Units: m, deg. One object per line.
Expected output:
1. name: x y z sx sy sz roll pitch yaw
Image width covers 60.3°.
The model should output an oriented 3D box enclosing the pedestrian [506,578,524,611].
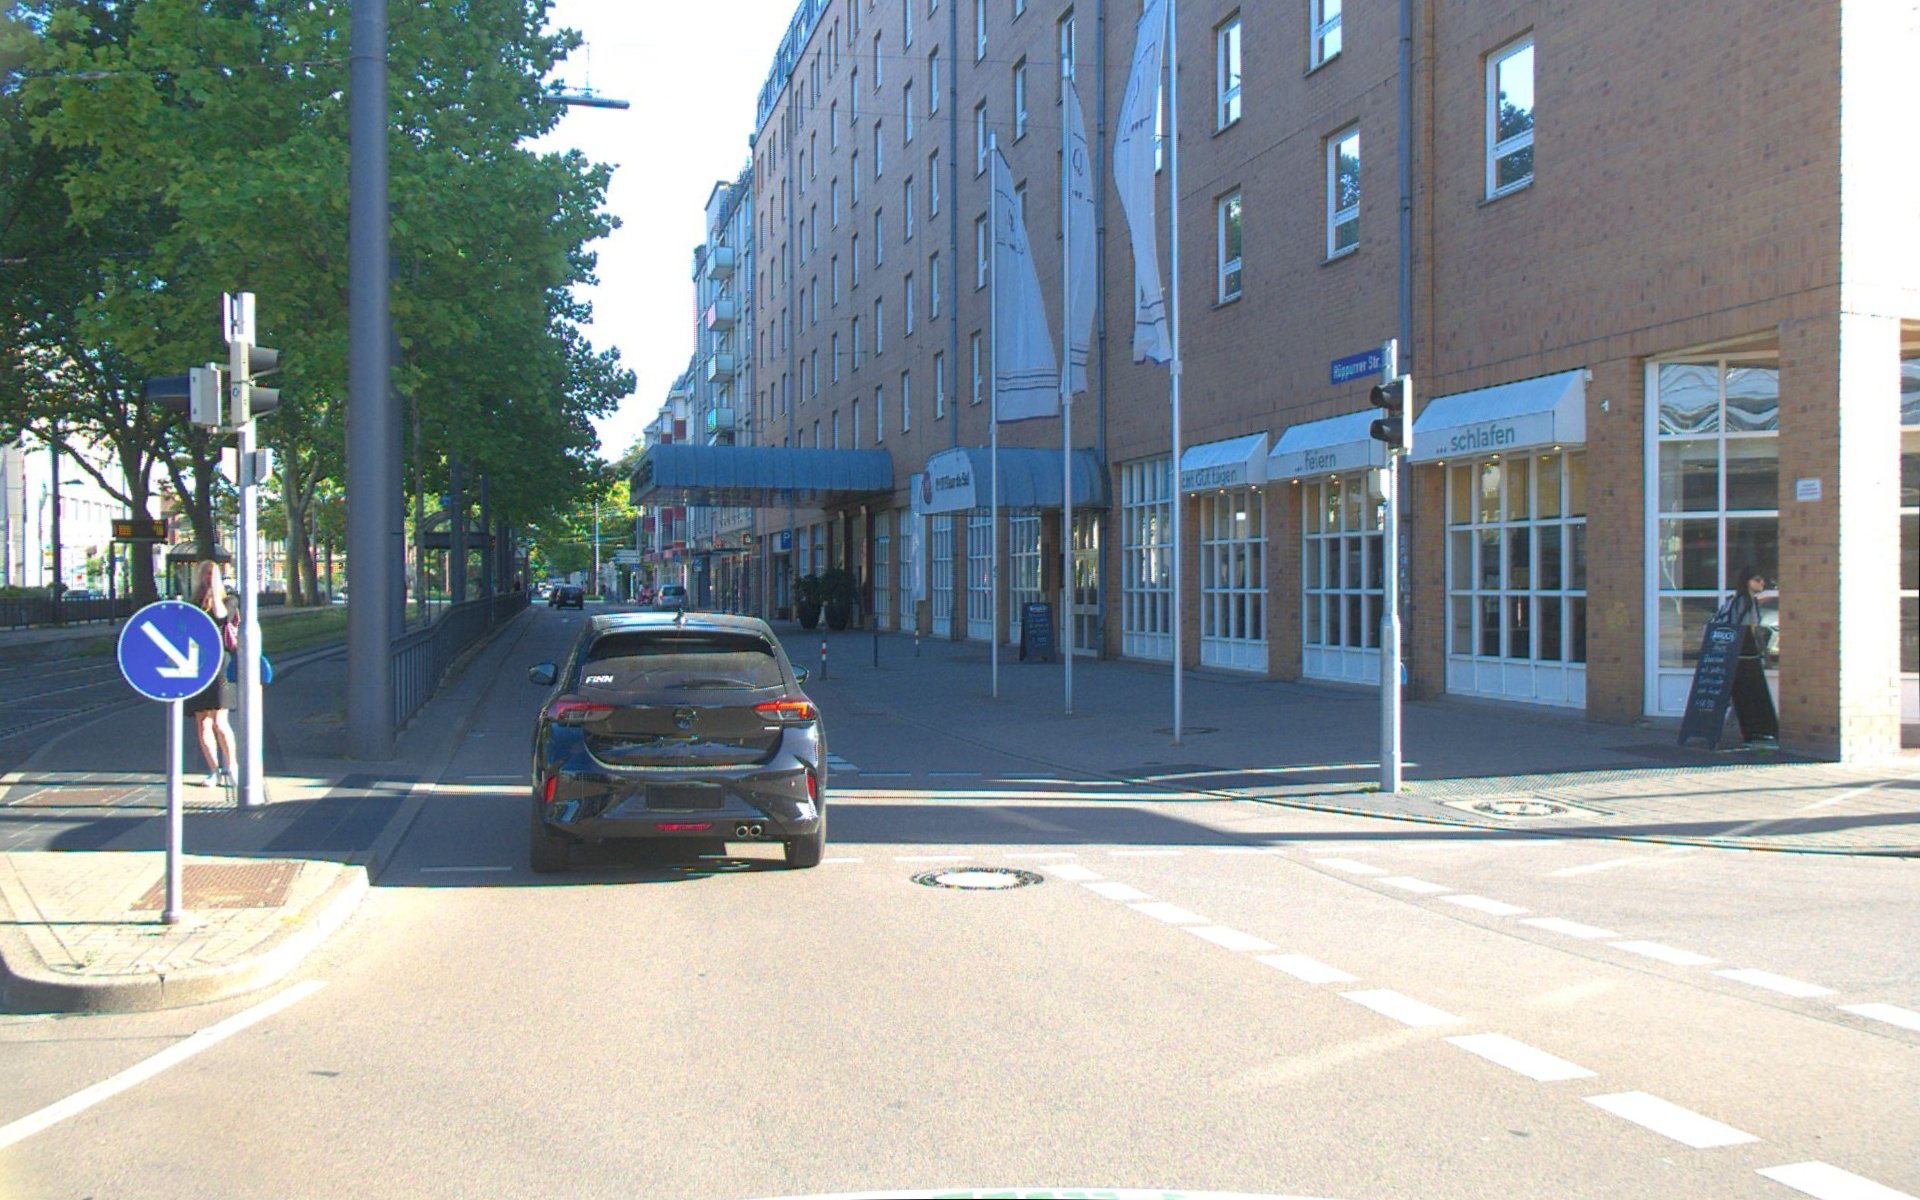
1. pedestrian: -20.088 -0.269 74.669 0.711 1.470 0.624 1 0 -18

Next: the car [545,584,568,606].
1. car: -29.594 -0.394 121.300 1.586 1.528 3.676 1 0 -15

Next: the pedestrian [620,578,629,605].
1. pedestrian: -35.938 -0.897 177.028 0.902 2.922 1.146 0 0 -15

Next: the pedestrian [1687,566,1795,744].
1. pedestrian: 7.701 0.520 16.311 0.734 1.695 0.742 0 0 -41

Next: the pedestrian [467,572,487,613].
1. pedestrian: -16.441 -0.251 56.276 0.594 1.389 0.484 -1 0 -14

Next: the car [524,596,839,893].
1. car: -1.786 0.747 10.593 1.641 1.528 3.681 0 0 -10

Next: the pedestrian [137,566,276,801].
1. pedestrian: -5.686 0.606 12.519 0.700 1.709 0.830 -1 0 -6

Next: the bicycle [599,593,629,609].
1. bicycle: -27.454 0.083 131.391 2.314 1.255 0.682 1 0 -13

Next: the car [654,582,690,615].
1. car: -15.300 -0.094 87.719 1.643 1.681 3.678 1 0 -13

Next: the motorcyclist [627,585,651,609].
1. motorcyclist: -23.384 -0.238 120.491 1.299 1.727 1.217 1 0 -44

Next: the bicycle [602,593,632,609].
1. bicycle: -27.615 0.111 133.152 2.314 1.255 0.682 1 0 -13

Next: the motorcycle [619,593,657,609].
1. motorcycle: -23.490 0.086 120.606 1.299 1.077 3.048 1 1 -44

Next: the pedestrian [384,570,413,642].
1. pedestrian: -13.524 0.146 39.862 0.594 1.709 0.484 -1 0 -14

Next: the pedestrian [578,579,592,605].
1. pedestrian: -41.547 -0.859 183.187 0.904 2.922 1.143 0 0 43

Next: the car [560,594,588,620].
1. car: -23.962 0.398 102.625 1.586 1.528 3.676 1 0 -15

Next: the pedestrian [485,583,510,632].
1. pedestrian: -14.029 0.213 50.147 0.711 1.470 0.624 1 0 -18

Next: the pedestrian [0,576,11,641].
1. pedestrian: -24.216 0.201 41.424 0.552 1.600 0.639 1 2 -2
